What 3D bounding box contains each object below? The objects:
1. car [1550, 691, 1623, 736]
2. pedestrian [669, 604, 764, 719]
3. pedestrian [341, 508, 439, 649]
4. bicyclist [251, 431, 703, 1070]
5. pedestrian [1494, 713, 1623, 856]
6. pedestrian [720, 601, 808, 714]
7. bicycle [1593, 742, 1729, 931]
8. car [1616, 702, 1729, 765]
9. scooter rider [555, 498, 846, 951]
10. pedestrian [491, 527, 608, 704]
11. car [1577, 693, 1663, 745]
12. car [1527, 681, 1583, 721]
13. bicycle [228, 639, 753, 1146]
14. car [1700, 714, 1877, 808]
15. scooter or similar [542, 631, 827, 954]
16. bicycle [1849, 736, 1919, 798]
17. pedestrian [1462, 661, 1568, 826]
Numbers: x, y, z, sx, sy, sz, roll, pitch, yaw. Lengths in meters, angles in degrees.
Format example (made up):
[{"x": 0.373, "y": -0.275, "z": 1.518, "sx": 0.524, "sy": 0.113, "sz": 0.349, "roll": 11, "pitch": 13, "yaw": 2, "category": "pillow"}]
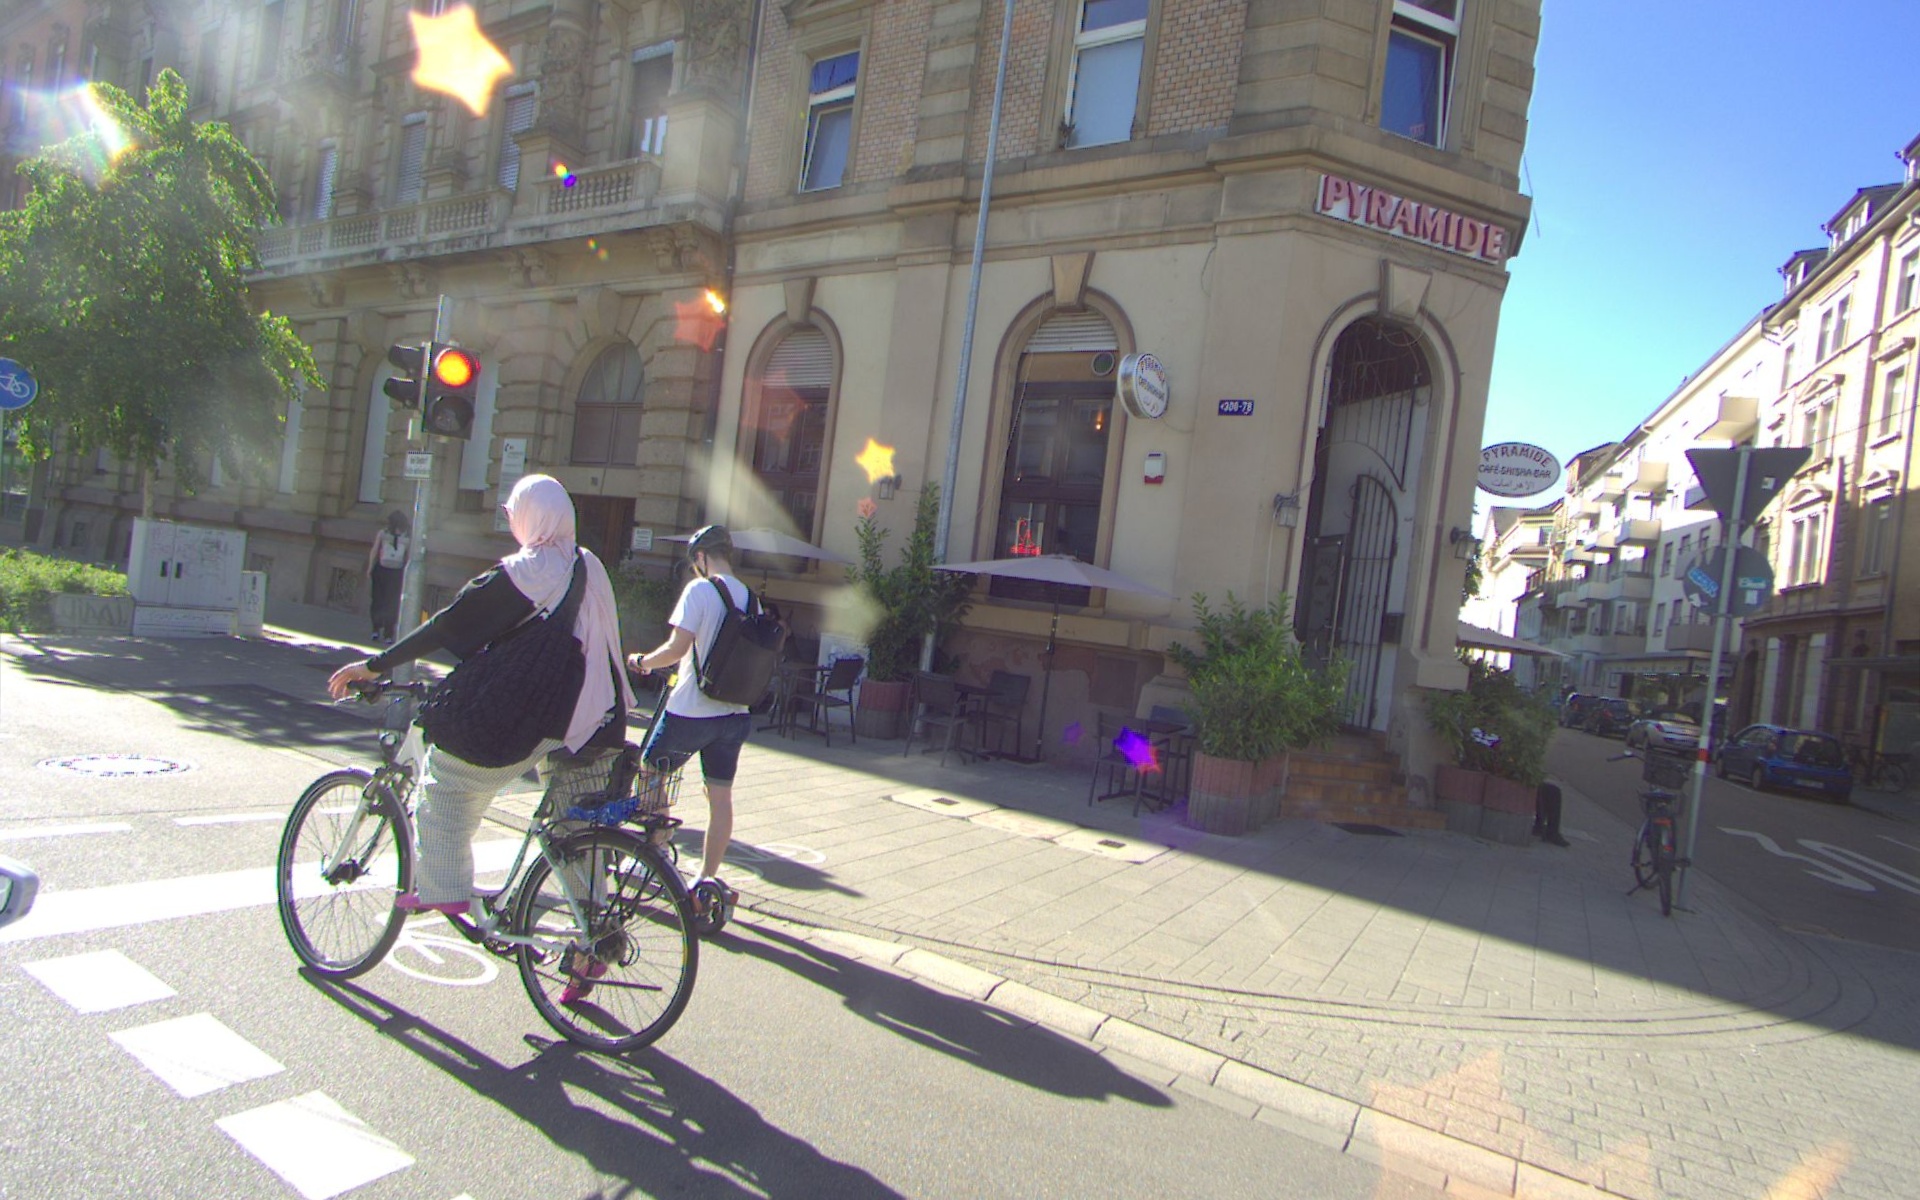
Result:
[{"x": 25.852, "y": 4.654, "z": 41.645, "sx": 1.769, "sy": 1.449, "sz": 3.773, "roll": 7, "pitch": -1, "yaw": 22, "category": "car"}, {"x": -2.768, "y": 0.692, "z": 11.458, "sx": 0.624, "sy": 1.193, "sz": 0.706, "roll": 7, "pitch": 2, "yaw": 31, "category": "pedestrian"}, {"x": -8.399, "y": -0.316, "z": 14.823, "sx": 1.060, "sy": 1.932, "sz": 0.652, "roll": 7, "pitch": 1, "yaw": 31, "category": "pedestrian"}, {"x": -1.550, "y": 0.411, "z": 3.289, "sx": 0.854, "sy": 1.731, "sz": 0.781, "roll": 7, "pitch": -2, "yaw": 31, "category": "bicyclist"}, {"x": 6.092, "y": 1.849, "z": 10.300, "sx": 0.917, "sy": 1.228, "sz": 0.852, "roll": 7, "pitch": -1, "yaw": 25, "category": "pedestrian"}, {"x": -2.358, "y": 0.684, "z": 12.135, "sx": 0.624, "sy": 1.252, "sz": 0.706, "roll": 7, "pitch": 2, "yaw": 31, "category": "pedestrian"}, {"x": 5.696, "y": 1.840, "z": 8.197, "sx": 0.643, "sy": 1.186, "sz": 1.818, "roll": 11, "pitch": 2, "yaw": 35, "category": "bicycle"}, {"x": 21.837, "y": 4.036, "z": 30.992, "sx": 1.769, "sy": 1.350, "sz": 4.000, "roll": 9, "pitch": 0, "yaw": 22, "category": "car"}, {"x": -1.220, "y": 0.537, "z": 4.768, "sx": 0.886, "sy": 1.882, "sz": 0.668, "roll": 7, "pitch": -1, "yaw": 31, "category": "scooter rider"}, {"x": -4.617, "y": 0.173, "z": 11.296, "sx": 0.959, "sy": 1.809, "sz": 0.862, "roll": 8, "pitch": -1, "yaw": -26, "category": "pedestrian"}, {"x": 23.999, "y": 4.305, "z": 36.731, "sx": 1.769, "sy": 1.449, "sz": 3.773, "roll": 7, "pitch": -1, "yaw": 22, "category": "car"}, {"x": 30.121, "y": 5.088, "z": 51.005, "sx": 1.769, "sy": 1.685, "sz": 3.773, "roll": 7, "pitch": -1, "yaw": 23, "category": "car"}, {"x": -1.603, "y": 0.809, "z": 3.317, "sx": 1.762, "sy": 1.105, "sz": 0.558, "roll": 7, "pitch": -2, "yaw": 31, "category": "bicycle"}, {"x": 18.511, "y": 3.533, "z": 22.721, "sx": 1.769, "sy": 1.437, "sz": 4.000, "roll": 9, "pitch": 0, "yaw": 22, "category": "car"}, {"x": -1.319, "y": 0.852, "z": 4.775, "sx": 1.151, "sy": 1.240, "sz": 0.492, "roll": 7, "pitch": -2, "yaw": 31, "category": "scooter or similar"}, {"x": 22.231, "y": 3.960, "z": 23.715, "sx": 0.621, "sy": 1.192, "sz": 2.014, "roll": 7, "pitch": 0, "yaw": 1, "category": "bicycle"}, {"x": 6.634, "y": 1.685, "z": 12.092, "sx": 0.852, "sy": 1.781, "sz": 0.909, "roll": 7, "pitch": -1, "yaw": 25, "category": "pedestrian"}]
